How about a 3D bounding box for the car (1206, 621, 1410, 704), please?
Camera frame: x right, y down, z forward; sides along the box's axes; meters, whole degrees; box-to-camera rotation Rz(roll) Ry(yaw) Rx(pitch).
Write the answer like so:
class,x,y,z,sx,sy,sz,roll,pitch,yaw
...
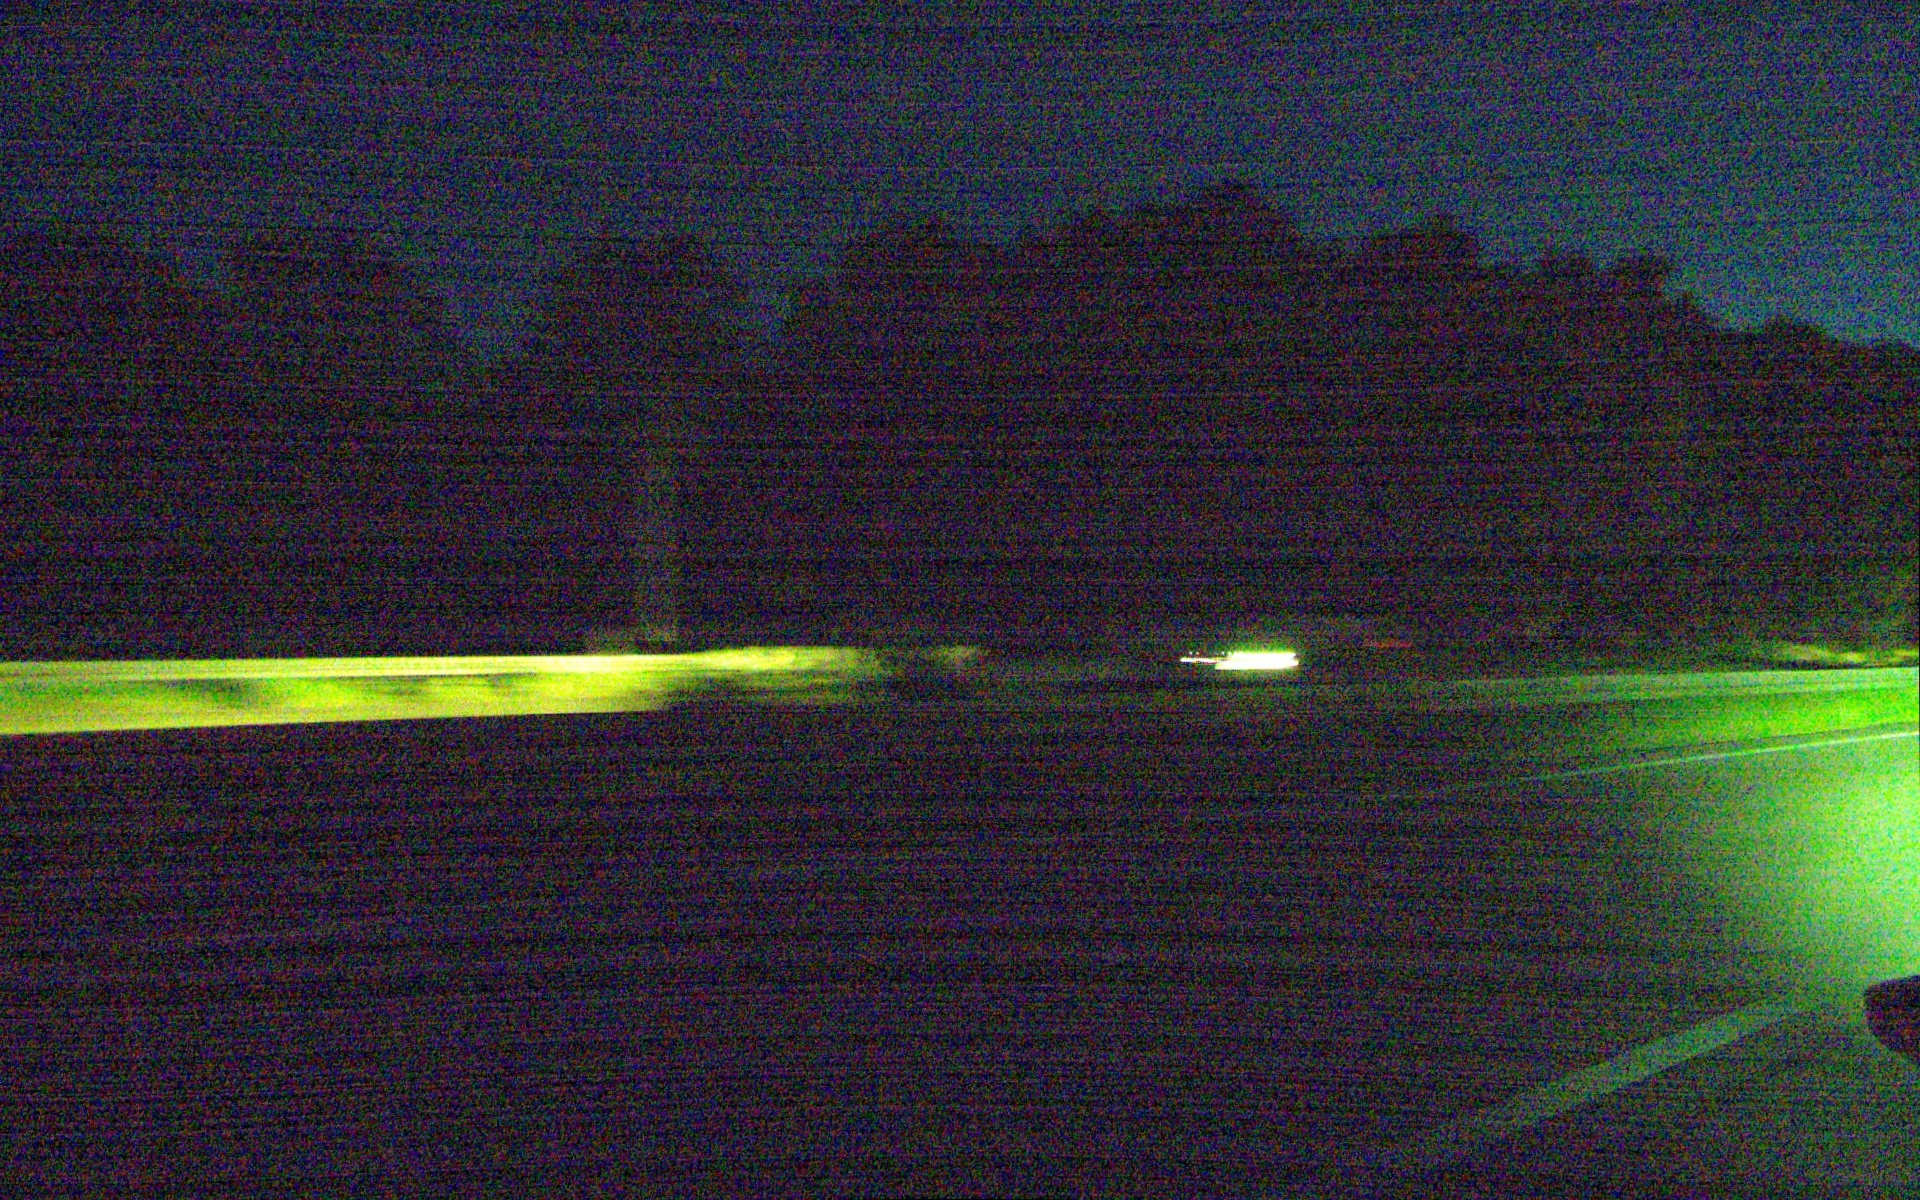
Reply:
class,x,y,z,sx,sy,sz,roll,pitch,yaw
car,7.799,1.349,22.396,4.485,1.679,1.982,2,-2,-33
